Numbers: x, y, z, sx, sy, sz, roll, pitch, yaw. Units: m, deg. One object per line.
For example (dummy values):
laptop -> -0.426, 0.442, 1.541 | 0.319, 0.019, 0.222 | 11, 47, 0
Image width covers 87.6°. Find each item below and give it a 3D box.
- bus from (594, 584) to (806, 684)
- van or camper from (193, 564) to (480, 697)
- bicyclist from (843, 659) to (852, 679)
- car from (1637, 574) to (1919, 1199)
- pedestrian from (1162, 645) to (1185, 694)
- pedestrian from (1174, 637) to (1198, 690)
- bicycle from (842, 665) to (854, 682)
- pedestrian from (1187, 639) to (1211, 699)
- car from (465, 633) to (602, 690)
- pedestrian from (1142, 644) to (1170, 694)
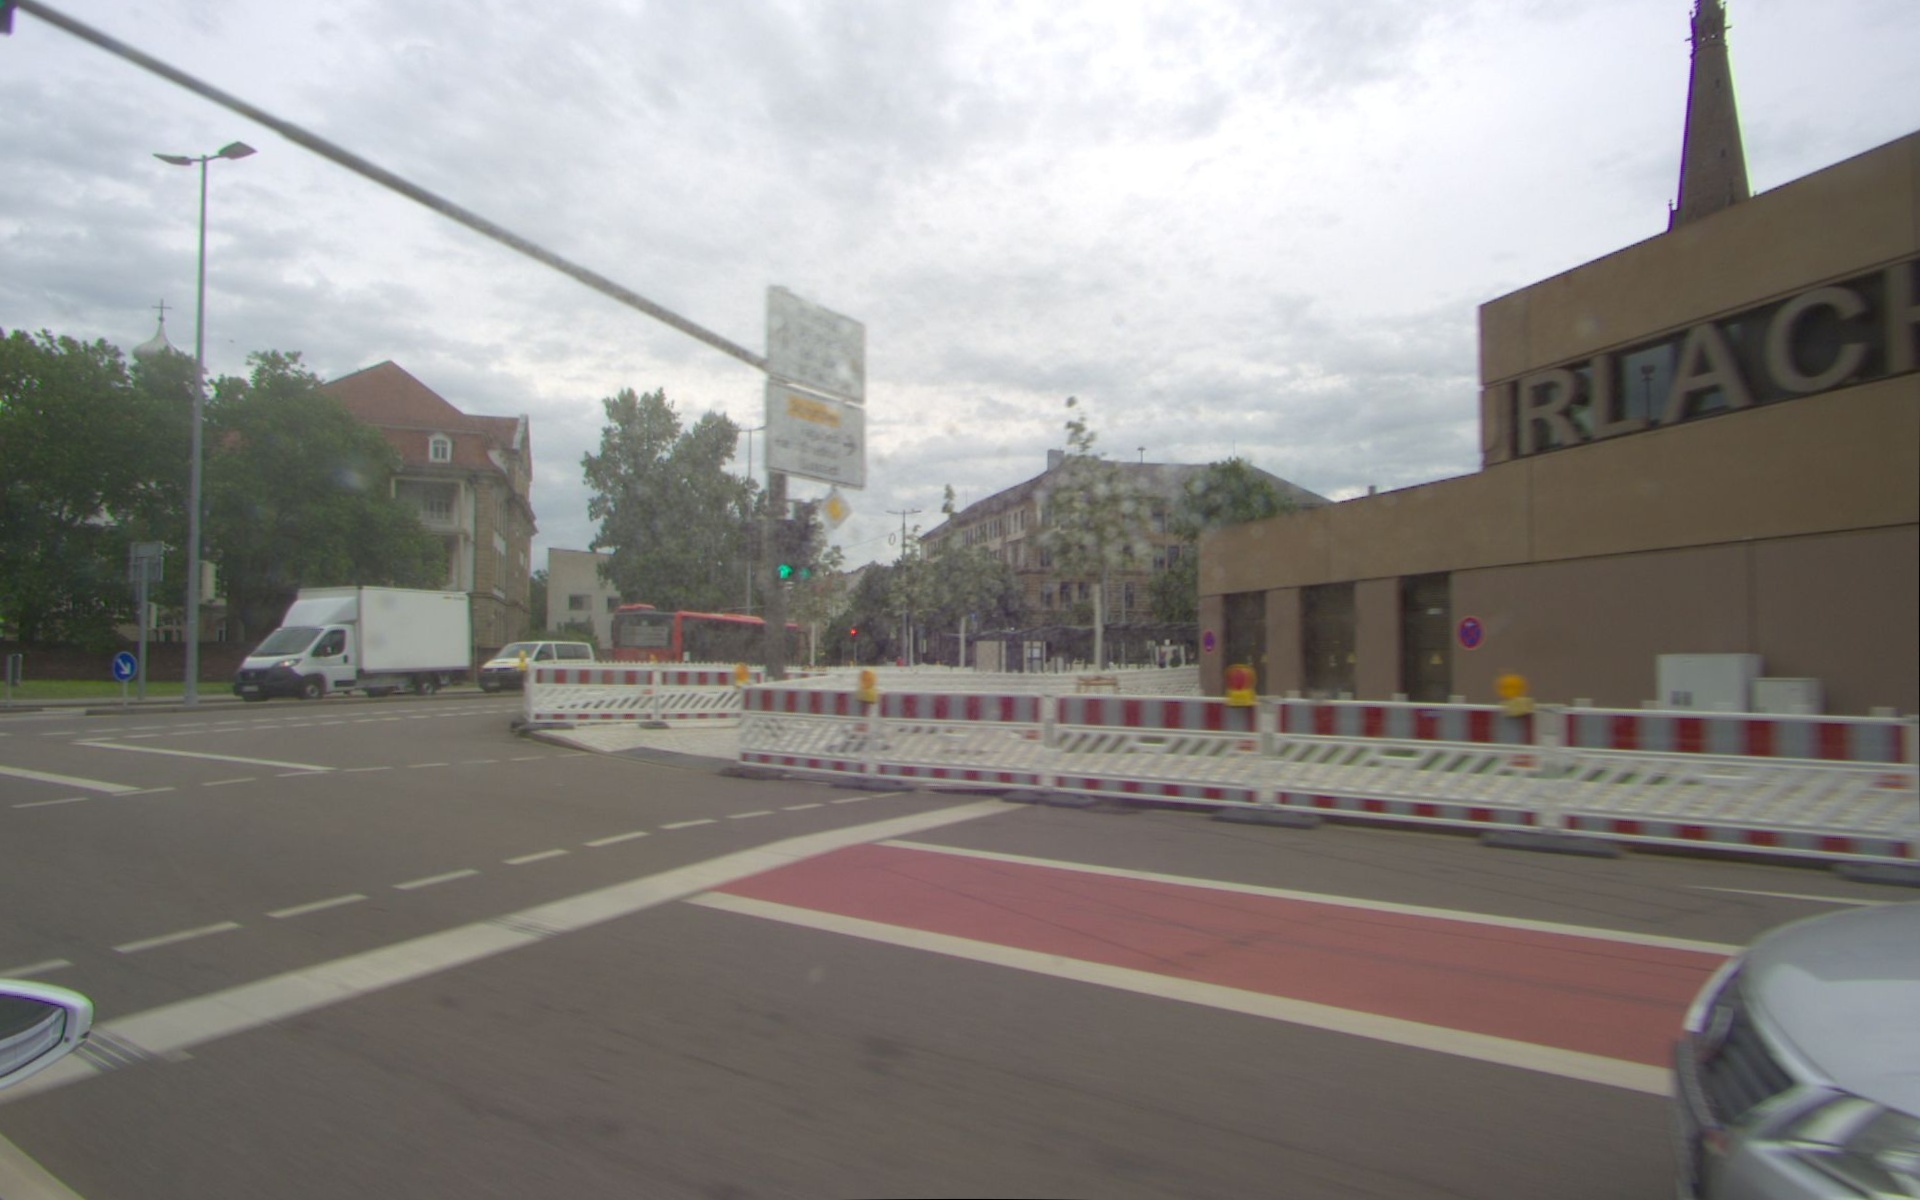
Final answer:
bus -> -9.695, 1.510, 39.730 | 3.010, 3.338, 12.383 | 0, -3, 11
van or camper -> -17.788, 0.986, 29.300 | 2.824, 3.373, 7.150 | -2, -3, 15
bicyclist -> -8.578, 5.273, 76.598 | 0.607, 1.557, 0.562 | 0, -2, 3
car -> 3.438, 0.696, 0.918 | 4.562, 1.501, 1.718 | -1, -2, 32
pedestrian -> 7.594, 2.464, 35.647 | 0.595, 1.709, 0.597 | -2, -3, 45
pedestrian -> 7.898, 2.228, 35.037 | 0.591, 1.827, 0.635 | -2, -3, 45
bicycle -> -8.579, 5.626, 76.634 | 0.617, 1.244, 1.551 | 0, -2, 4
pedestrian -> 7.508, 2.150, 31.407 | 0.449, 1.855, 0.645 | 1, -2, -19
car -> -15.645, 2.260, 37.087 | 1.964, 1.887, 5.003 | -4, -4, 15
pedestrian -> 7.072, 2.471, 36.156 | 0.691, 1.783, 0.758 | 2, -3, -44
